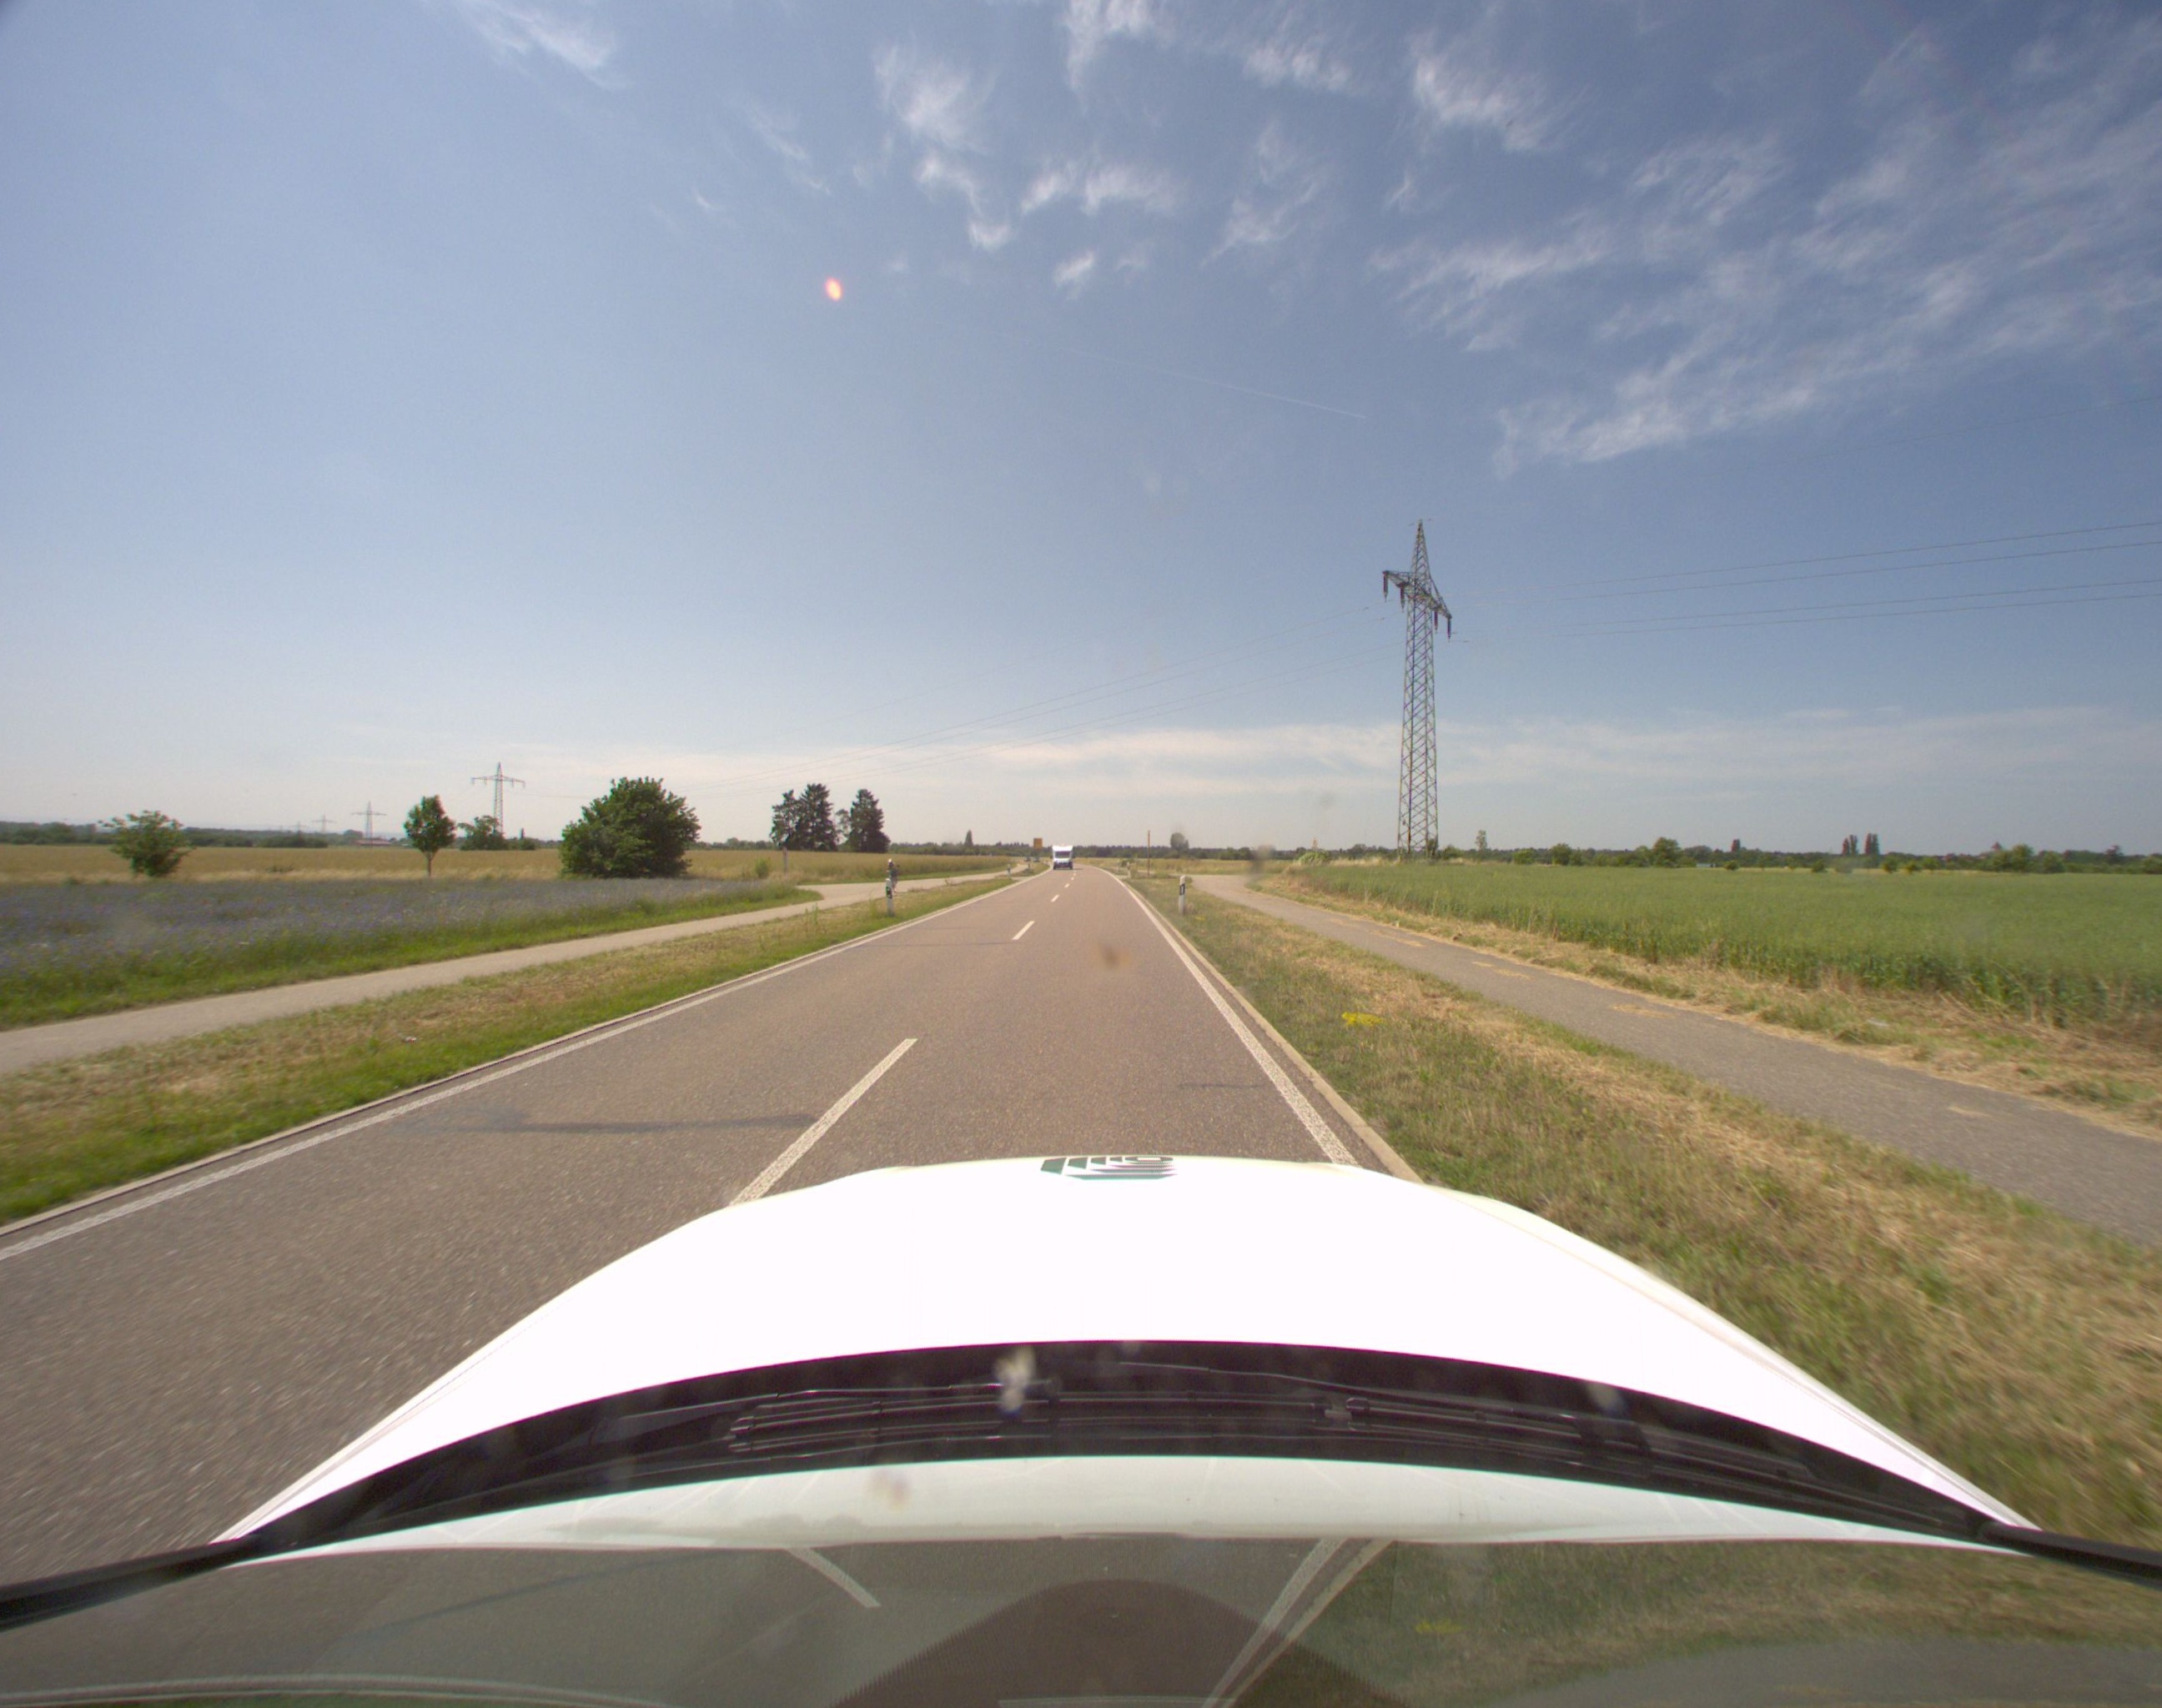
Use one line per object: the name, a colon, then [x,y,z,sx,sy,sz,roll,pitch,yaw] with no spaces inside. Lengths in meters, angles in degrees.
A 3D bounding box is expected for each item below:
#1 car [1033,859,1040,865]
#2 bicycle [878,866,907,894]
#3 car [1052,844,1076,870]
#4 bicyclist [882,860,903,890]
car: [-11.882,2.210,218.300,1.706,1.586,3.501,-1,-1,0]
bicycle: [-8.667,1.175,37.593,0.760,1.229,2.216,0,0,1]
car: [-1.888,0.310,91.877,2.388,2.847,7.630,0,0,1]
bicyclist: [-8.672,0.957,37.474,0.699,1.331,0.965,0,0,1]
